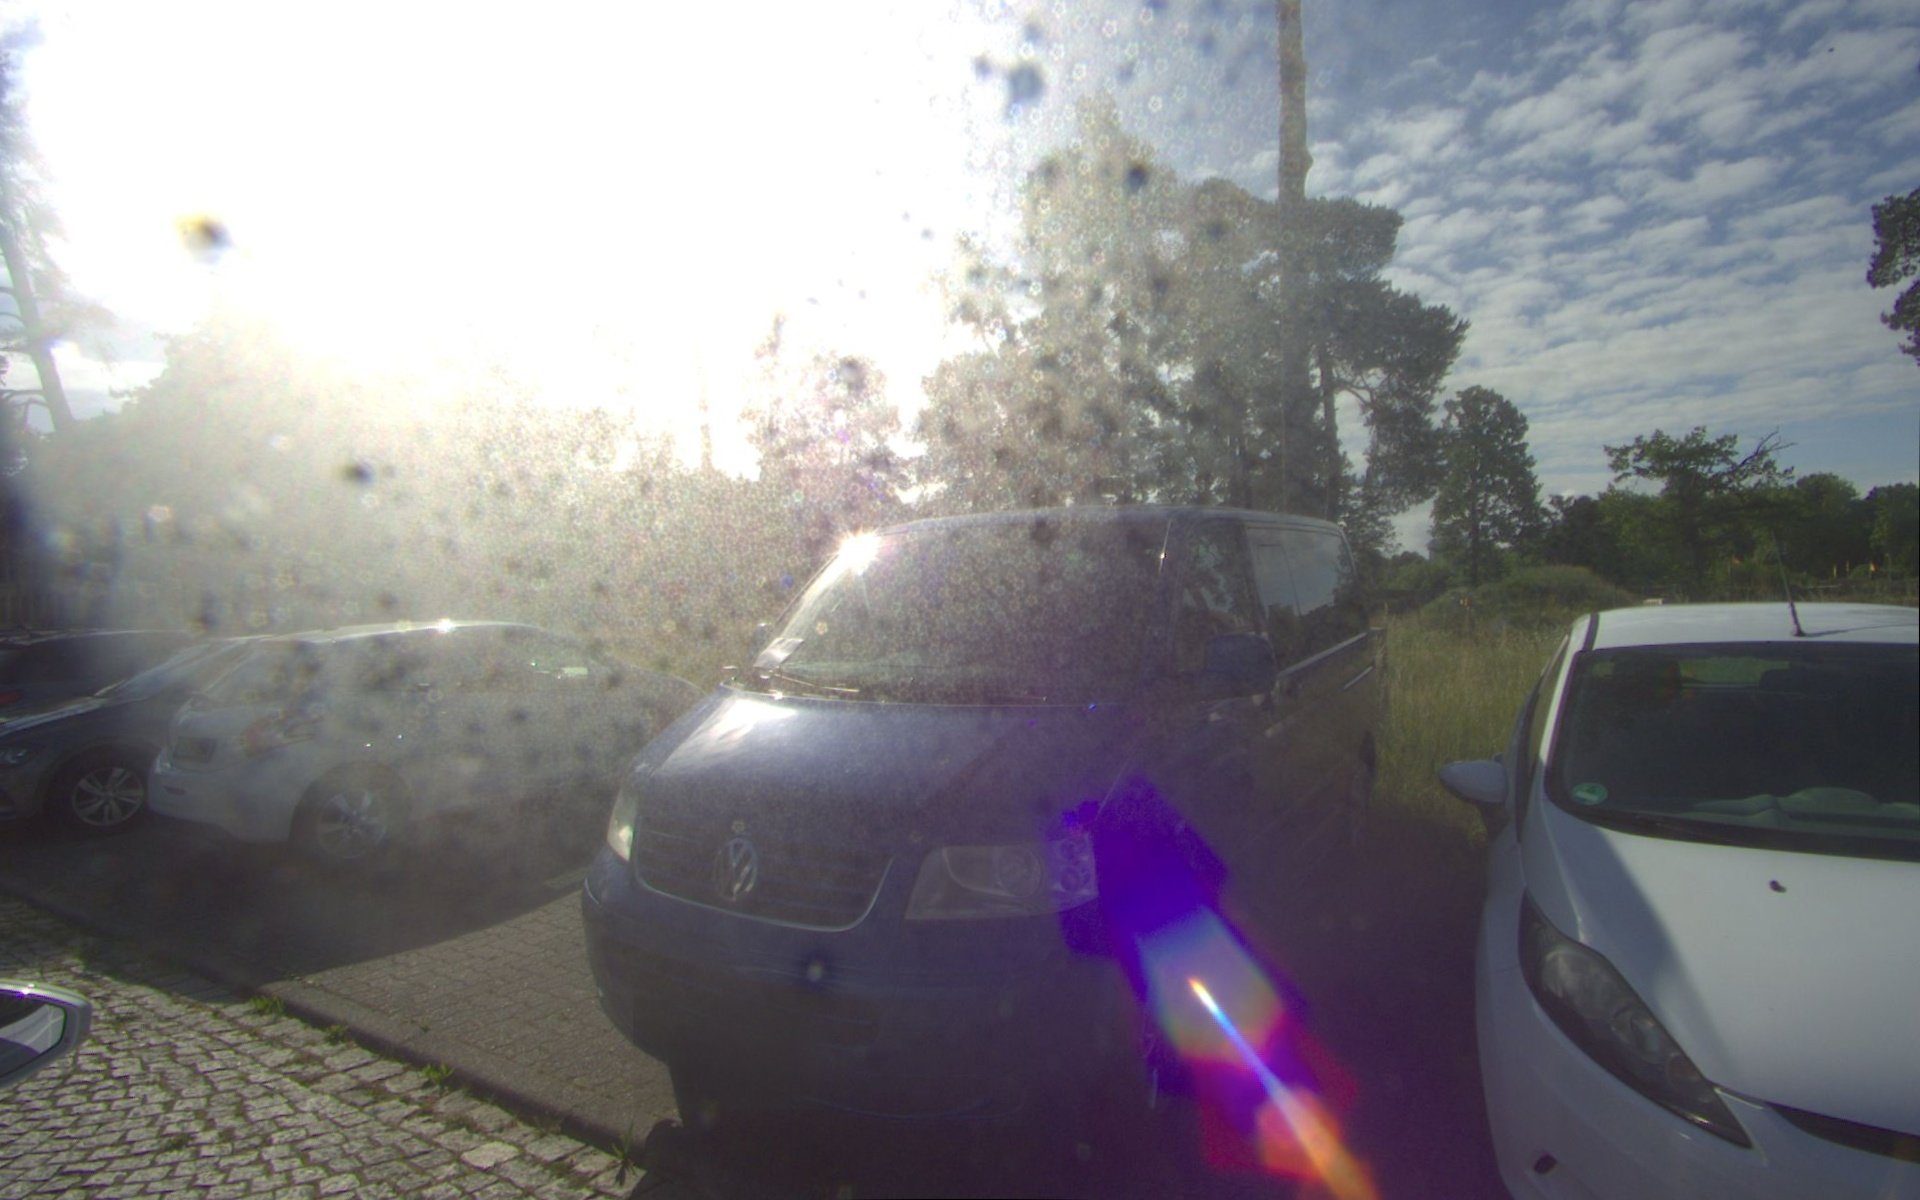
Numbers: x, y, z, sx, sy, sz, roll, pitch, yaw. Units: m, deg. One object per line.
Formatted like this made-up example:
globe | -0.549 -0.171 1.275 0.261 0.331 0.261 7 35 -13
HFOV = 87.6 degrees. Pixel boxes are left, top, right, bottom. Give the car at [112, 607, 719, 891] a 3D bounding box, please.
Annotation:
car | -3.718 0.843 7.449 1.611 1.512 3.636 -1 0 33

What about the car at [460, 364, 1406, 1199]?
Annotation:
car | 0.583 0.480 4.582 1.972 2.041 4.741 -1 2 33

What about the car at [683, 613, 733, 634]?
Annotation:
car | -20.075 1.862 79.868 1.743 1.517 3.625 -1 0 35

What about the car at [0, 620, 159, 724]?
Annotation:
car | -14.600 1.087 14.438 1.763 1.407 4.390 -1 1 31

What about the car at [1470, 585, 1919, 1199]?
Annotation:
car | 2.540 0.736 3.017 1.586 1.486 3.713 -1 1 30

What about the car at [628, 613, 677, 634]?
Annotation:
car | -25.918 1.941 84.517 1.743 1.693 3.625 -1 0 35

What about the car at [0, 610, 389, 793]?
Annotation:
car | -8.365 0.932 10.608 1.643 1.474 3.654 -1 1 32

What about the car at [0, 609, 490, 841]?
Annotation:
car | -6.359 0.883 8.678 1.733 1.470 3.770 -1 1 34

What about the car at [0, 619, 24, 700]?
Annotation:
car | -18.922 1.145 17.315 1.642 1.463 3.664 -1 1 32

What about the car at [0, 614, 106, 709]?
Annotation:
car | -16.966 1.092 16.036 1.842 1.475 4.610 -1 2 30

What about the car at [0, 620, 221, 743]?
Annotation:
car | -12.553 1.076 13.373 1.632 1.468 3.971 -1 0 32

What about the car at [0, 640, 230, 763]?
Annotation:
car | -10.838 1.154 11.674 1.515 1.258 3.453 -1 -1 33
